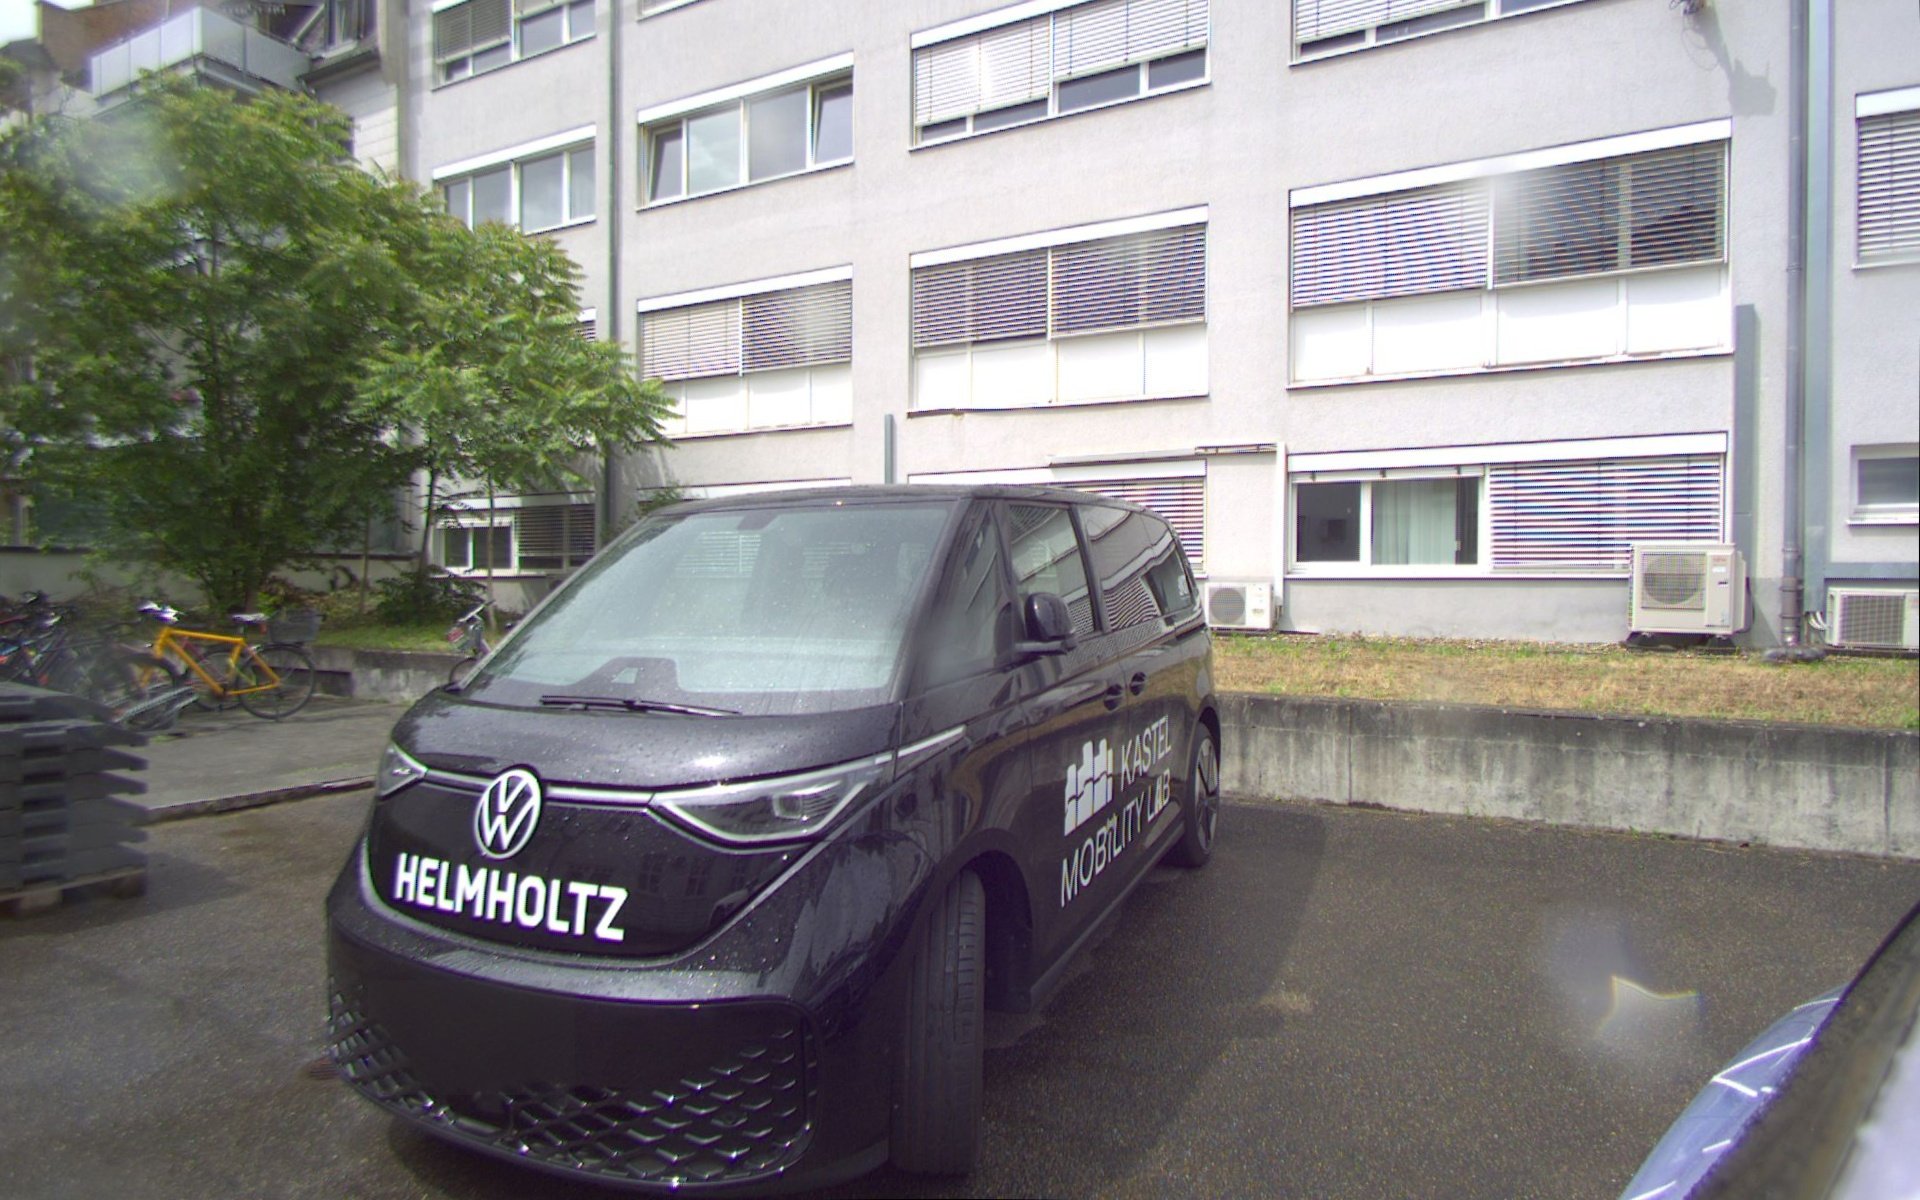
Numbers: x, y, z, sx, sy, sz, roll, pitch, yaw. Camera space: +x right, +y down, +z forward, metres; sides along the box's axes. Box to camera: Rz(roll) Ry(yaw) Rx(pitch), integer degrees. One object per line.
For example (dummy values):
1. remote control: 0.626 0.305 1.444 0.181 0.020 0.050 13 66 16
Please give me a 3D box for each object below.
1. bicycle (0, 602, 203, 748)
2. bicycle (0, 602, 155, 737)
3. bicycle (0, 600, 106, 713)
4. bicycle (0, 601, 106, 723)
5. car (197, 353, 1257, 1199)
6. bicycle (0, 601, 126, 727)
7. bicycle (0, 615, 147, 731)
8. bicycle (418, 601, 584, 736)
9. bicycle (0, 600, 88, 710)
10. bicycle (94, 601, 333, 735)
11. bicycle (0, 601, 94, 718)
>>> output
1. bicycle: -7.407 0.586 8.393 0.403 1.118 1.774 1 1 34
2. bicycle: -8.118 0.585 8.765 0.352 1.118 1.774 1 1 34
3. bicycle: -9.780 0.575 10.251 0.351 1.118 1.740 1 1 26
4. bicycle: -9.085 0.583 9.428 0.339 1.118 1.740 1 1 26
5. car: -0.098 0.437 4.336 1.950 1.888 4.708 0 2 25
6. bicycle: -8.766 0.582 9.281 0.329 1.118 1.740 1 1 26
7. bicycle: -8.458 0.651 9.136 0.326 0.979 1.780 1 1 26
8. bicycle: -4.292 0.593 9.415 1.781 1.117 0.442 1 3 31
9. bicycle: -10.113 0.575 10.415 0.338 1.118 1.740 1 1 26
10. bicycle: -6.878 0.577 9.425 0.364 1.118 1.774 1 1 34
11. bicycle: -9.467 0.580 9.730 0.342 1.118 1.740 1 1 26
